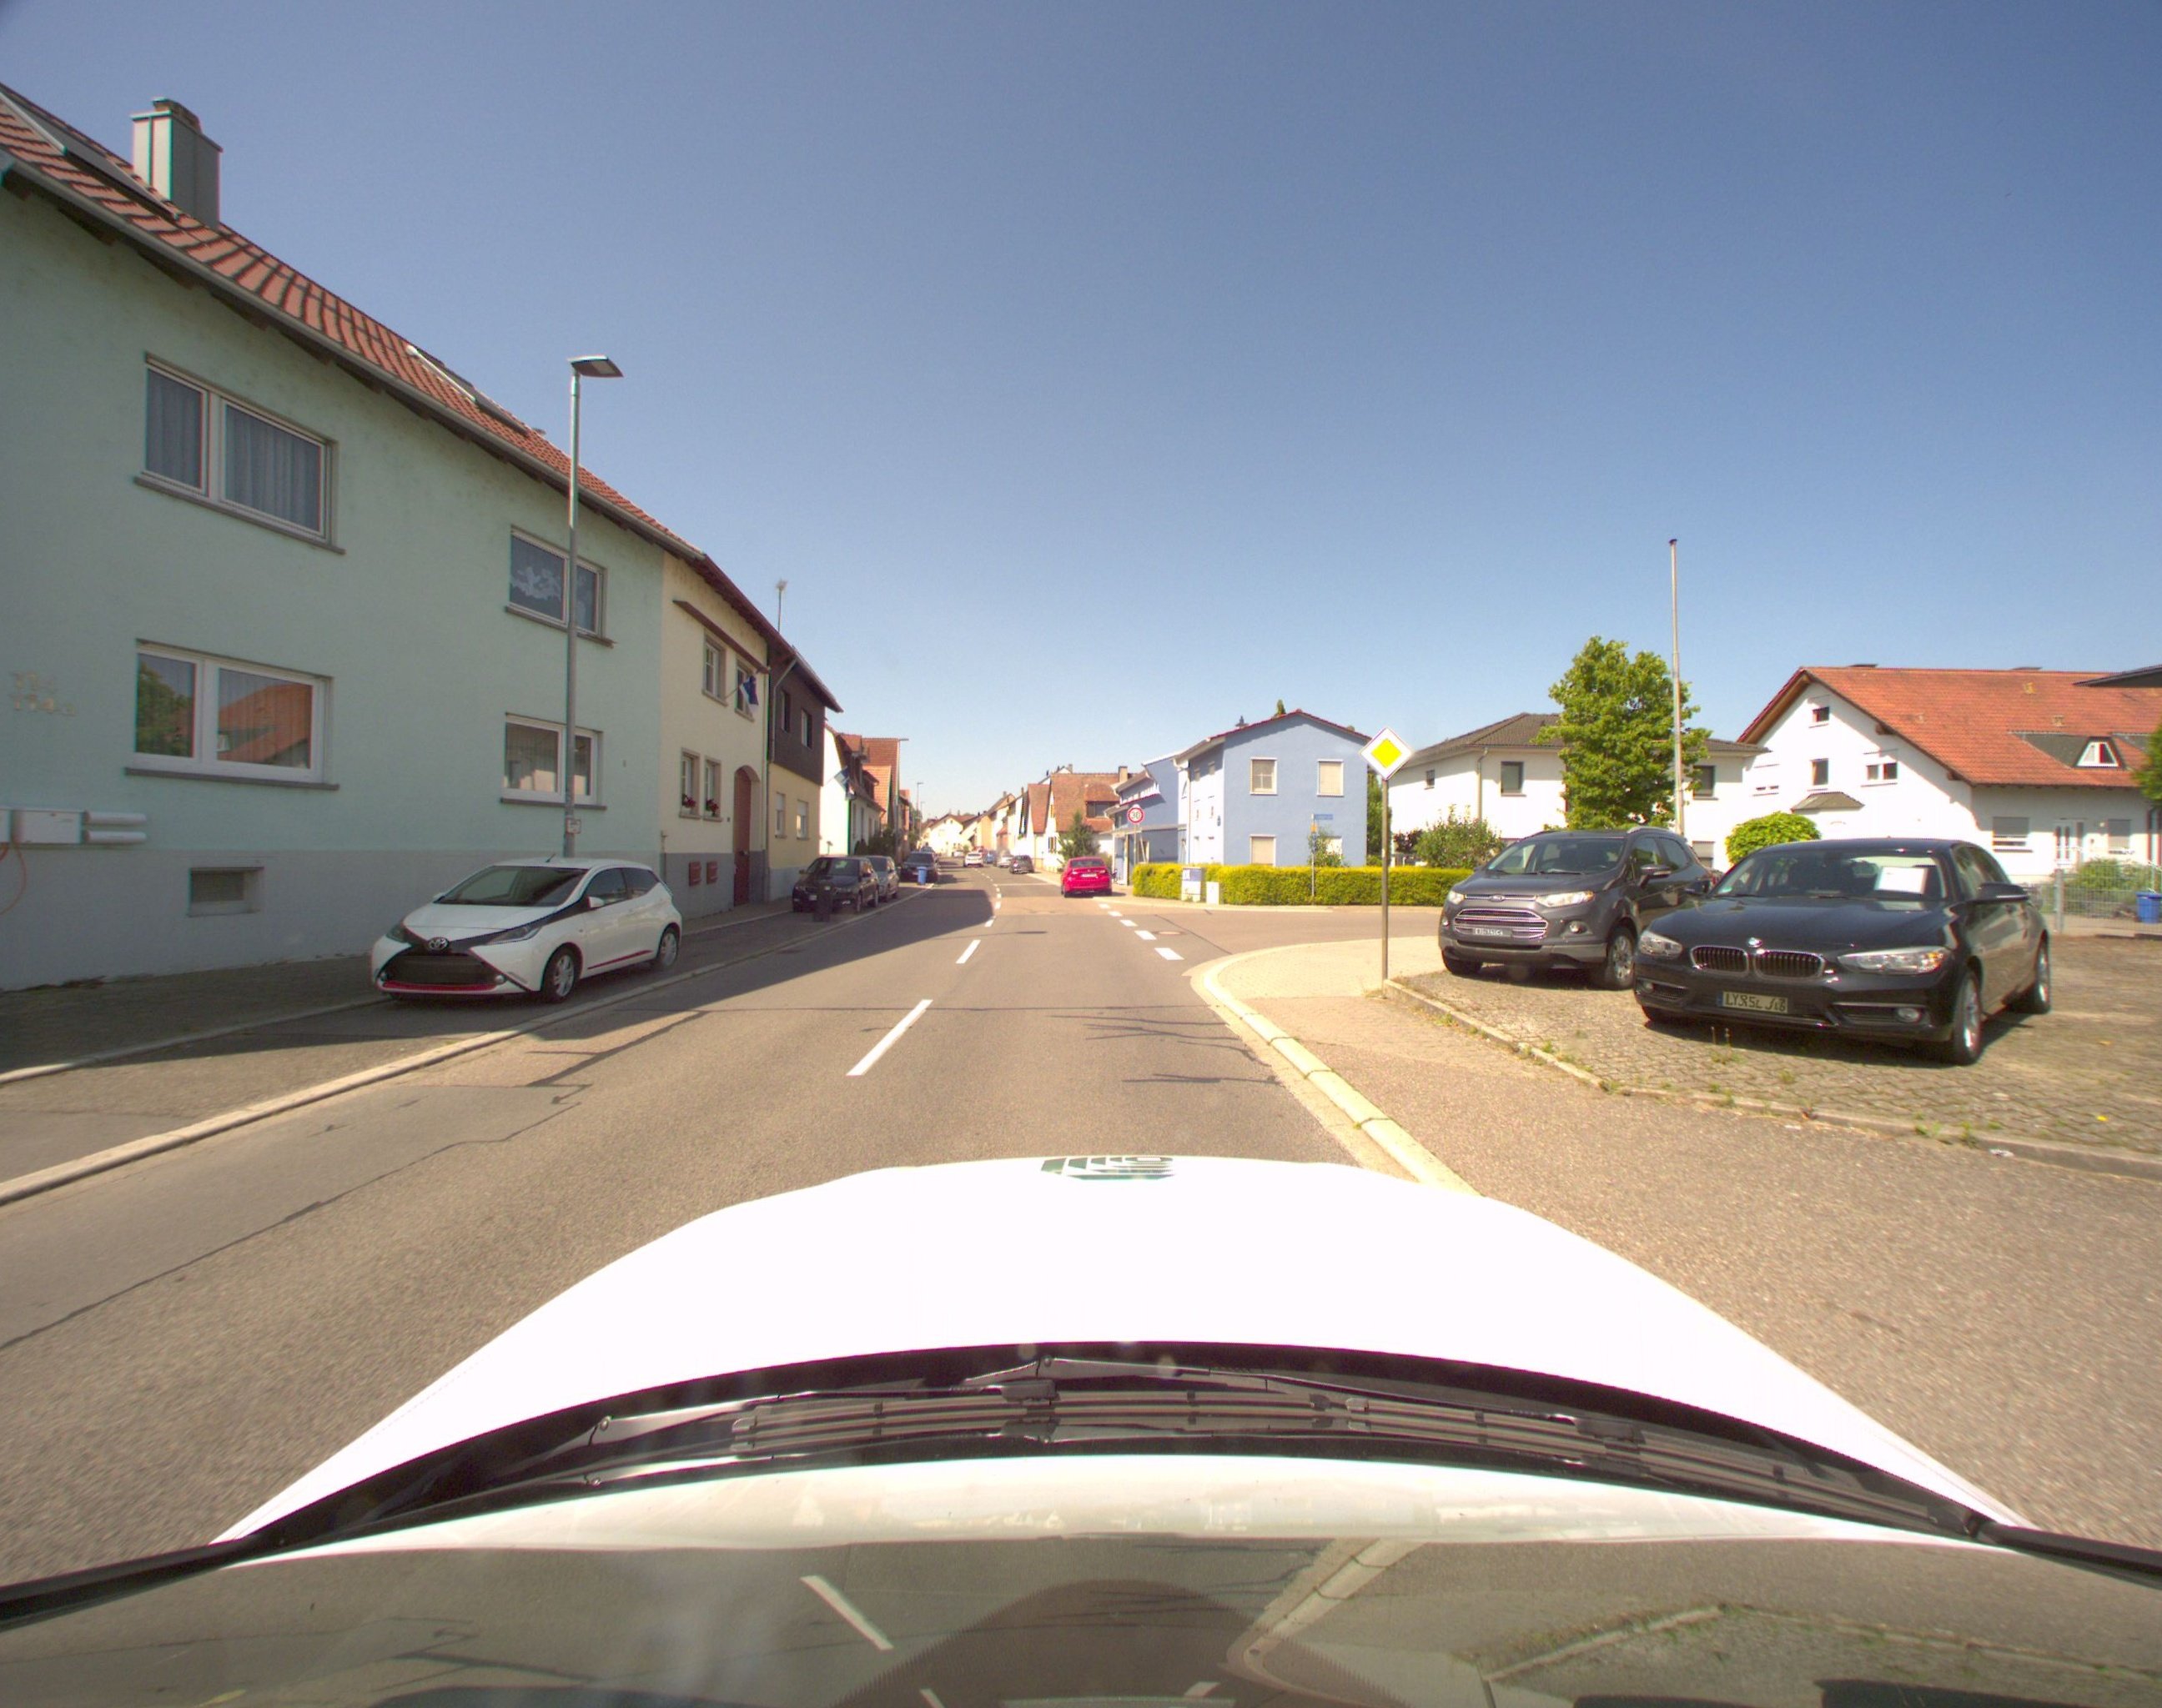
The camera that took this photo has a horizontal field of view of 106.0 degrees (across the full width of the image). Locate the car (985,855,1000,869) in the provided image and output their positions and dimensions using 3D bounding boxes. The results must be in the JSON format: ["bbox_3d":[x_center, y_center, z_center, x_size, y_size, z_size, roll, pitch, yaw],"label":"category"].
[{"bbox_3d":[-10.234,0.878,94.182,1.421,1.515,3.291,1,0,-11],"label":"car"}]

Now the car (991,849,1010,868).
[{"bbox_3d":[-8.273,0.472,83.506,1.650,1.910,3.612,1,0,-11],"label":"car"}]

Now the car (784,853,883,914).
[{"bbox_3d":[-6.629,0.745,22.202,1.675,1.437,3.989,3,-1,-5],"label":"car"}]

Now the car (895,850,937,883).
[{"bbox_3d":[-9.323,0.696,46.298,1.919,1.668,4.653,3,-1,-8],"label":"car"}]

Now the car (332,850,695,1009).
[{"bbox_3d":[-6.133,0.720,9.405,1.679,1.462,3.646,1,0,-2],"label":"car"}]

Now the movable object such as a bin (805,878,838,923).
[{"bbox_3d":[-5.832,1.031,18.331,0.551,0.928,0.822,5,-1,-10],"label":"movable object such as a bin"}]

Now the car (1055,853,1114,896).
[{"bbox_3d":[0.054,0.731,30.659,1.730,1.494,4.345,-1,0,-6],"label":"car"}]

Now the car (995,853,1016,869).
[{"bbox_3d":[-7.306,0.648,78.393,1.705,1.496,3.439,1,0,-11],"label":"car"}]

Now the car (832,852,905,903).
[{"bbox_3d":[-7.042,0.745,27.302,1.638,1.501,3.775,3,-1,-5],"label":"car"}]

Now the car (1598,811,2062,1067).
[{"bbox_3d":[5.963,0.471,6.386,3.887,1.447,1.733,0,0,-32],"label":"car"}]

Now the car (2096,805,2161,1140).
[{"bbox_3d":[7.257,0.534,4.257,4.254,1.565,1.964,-1,0,-32],"label":"car"}]

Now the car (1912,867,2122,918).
[{"bbox_3d":[29.722,1.158,26.104,1.687,1.429,4.385,1,-1,-1],"label":"car"}]

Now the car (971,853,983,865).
[{"bbox_3d":[-14.236,0.682,111.609,1.421,1.515,3.291,1,0,-11],"label":"car"}]

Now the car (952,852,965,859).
[{"bbox_3d":[-20.439,0.255,135.510,1.994,1.288,3.790,0,0,-11],"label":"car"}]

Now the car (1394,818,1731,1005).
[{"bbox_3d":[5.538,0.499,9.196,4.132,1.653,1.811,0,0,-36],"label":"car"}]

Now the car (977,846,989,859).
[{"bbox_3d":[-15.005,-0.170,124.515,1.767,2.004,3.438,0,0,-10],"label":"car"}]

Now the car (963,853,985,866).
[{"bbox_3d":[-10.692,0.531,80.978,1.994,1.288,3.985,0,0,-11],"label":"car"}]

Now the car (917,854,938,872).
[{"bbox_3d":[-14.556,0.843,77.422,1.806,1.548,4.389,1,0,-9],"label":"car"}]

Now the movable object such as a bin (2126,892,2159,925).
[{"bbox_3d":[32.793,1.687,25.157,0.385,0.980,0.463,2,0,1],"label":"movable object such as a bin"}]

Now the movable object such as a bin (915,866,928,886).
[{"bbox_3d":[-8.093,1.099,41.449,0.596,0.982,0.529,2,0,-9],"label":"movable object such as a bin"}]

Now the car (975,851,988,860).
[{"bbox_3d":[-14.654,0.223,119.730,1.767,1.433,3.438,0,0,-10],"label":"car"}]

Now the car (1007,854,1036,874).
[{"bbox_3d":[-4.564,0.722,62.099,1.705,1.433,3.875,1,0,-11],"label":"car"}]
